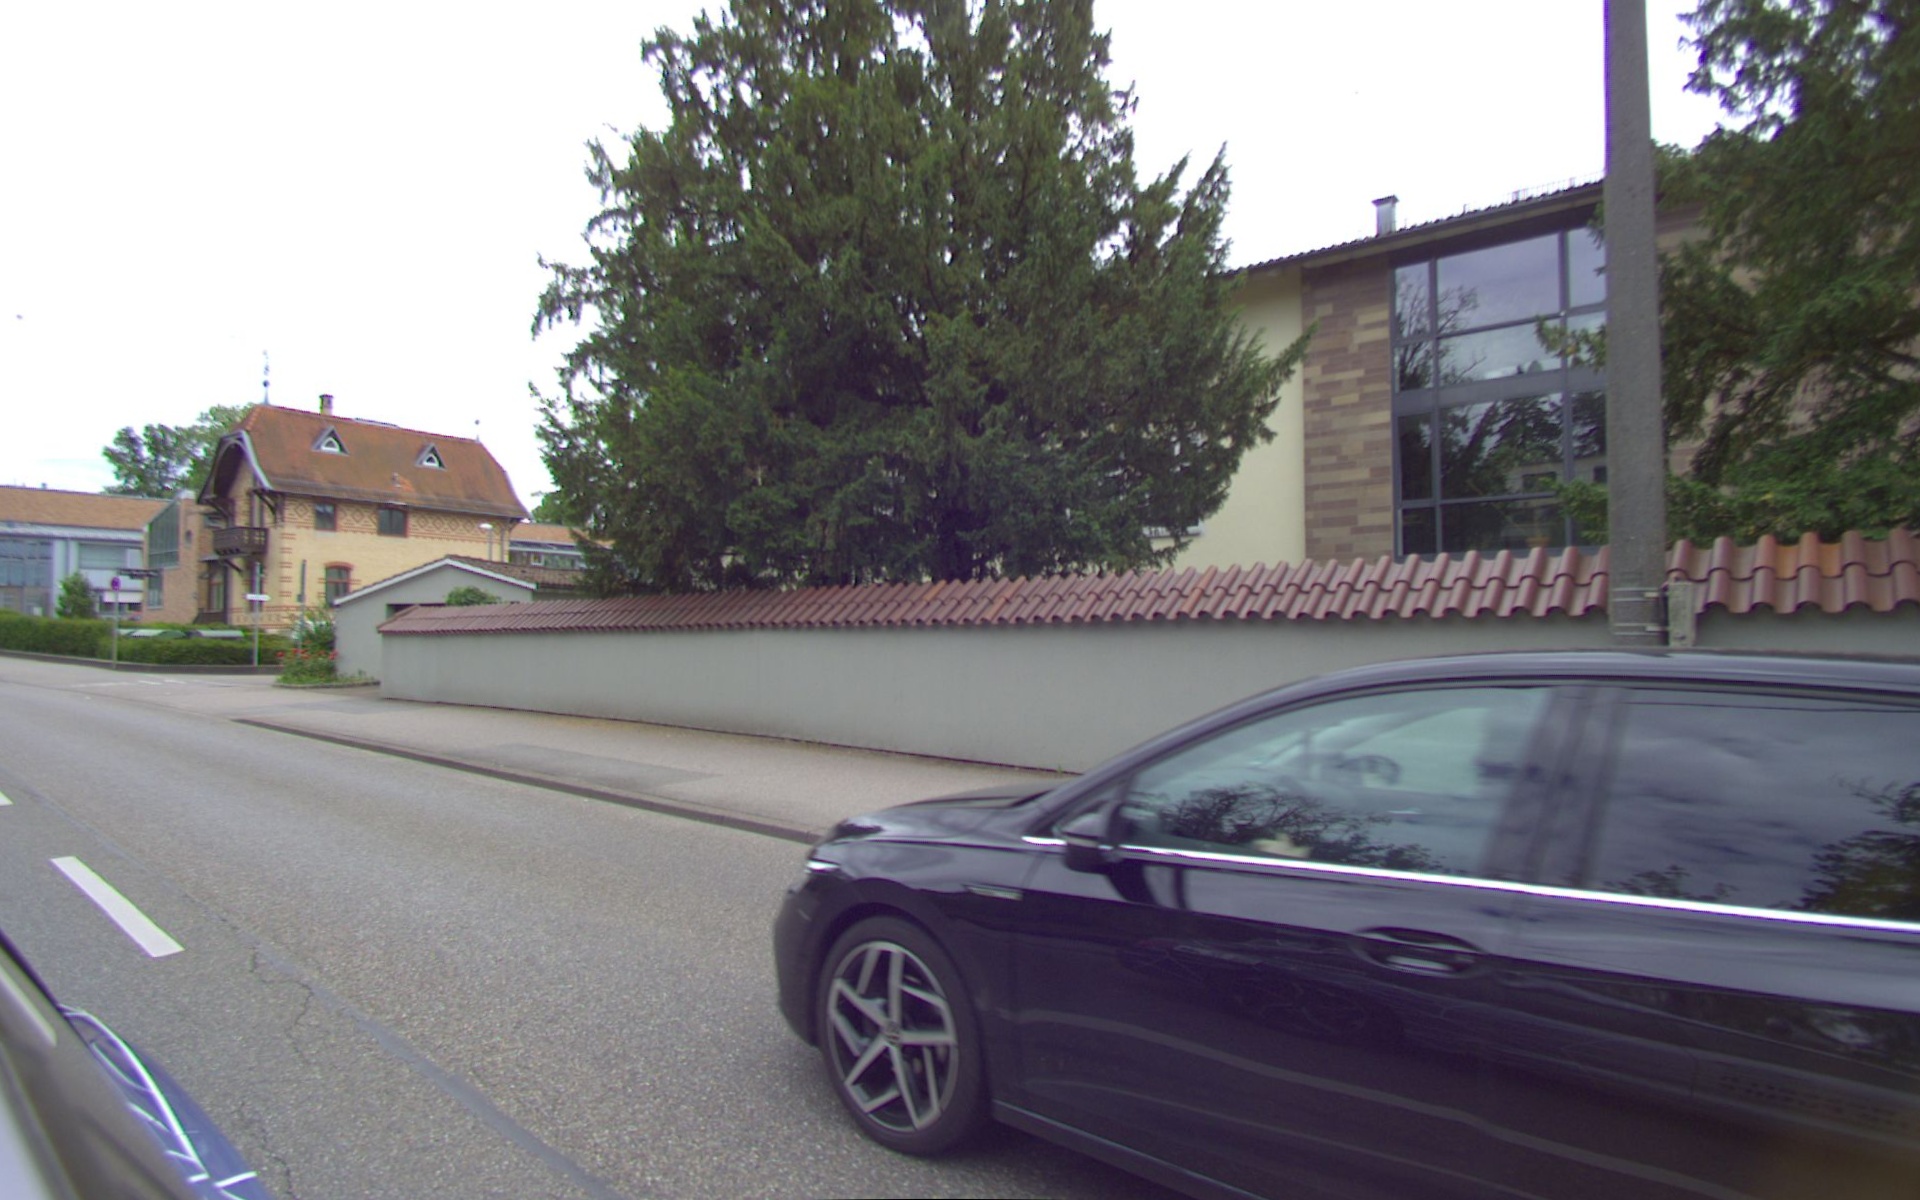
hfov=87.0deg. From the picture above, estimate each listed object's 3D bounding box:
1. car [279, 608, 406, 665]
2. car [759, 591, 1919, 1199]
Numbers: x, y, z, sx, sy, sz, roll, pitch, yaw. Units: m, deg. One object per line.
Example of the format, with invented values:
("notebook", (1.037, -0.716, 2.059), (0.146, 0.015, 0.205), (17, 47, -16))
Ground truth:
("car", (-23.904, 1.385, 39.183), (4.586, 2.085, 1.880), (0, -1, 23))
("car", (1.512, 0.742, 2.441), (3.995, 1.439, 1.768), (-1, -3, 39))
